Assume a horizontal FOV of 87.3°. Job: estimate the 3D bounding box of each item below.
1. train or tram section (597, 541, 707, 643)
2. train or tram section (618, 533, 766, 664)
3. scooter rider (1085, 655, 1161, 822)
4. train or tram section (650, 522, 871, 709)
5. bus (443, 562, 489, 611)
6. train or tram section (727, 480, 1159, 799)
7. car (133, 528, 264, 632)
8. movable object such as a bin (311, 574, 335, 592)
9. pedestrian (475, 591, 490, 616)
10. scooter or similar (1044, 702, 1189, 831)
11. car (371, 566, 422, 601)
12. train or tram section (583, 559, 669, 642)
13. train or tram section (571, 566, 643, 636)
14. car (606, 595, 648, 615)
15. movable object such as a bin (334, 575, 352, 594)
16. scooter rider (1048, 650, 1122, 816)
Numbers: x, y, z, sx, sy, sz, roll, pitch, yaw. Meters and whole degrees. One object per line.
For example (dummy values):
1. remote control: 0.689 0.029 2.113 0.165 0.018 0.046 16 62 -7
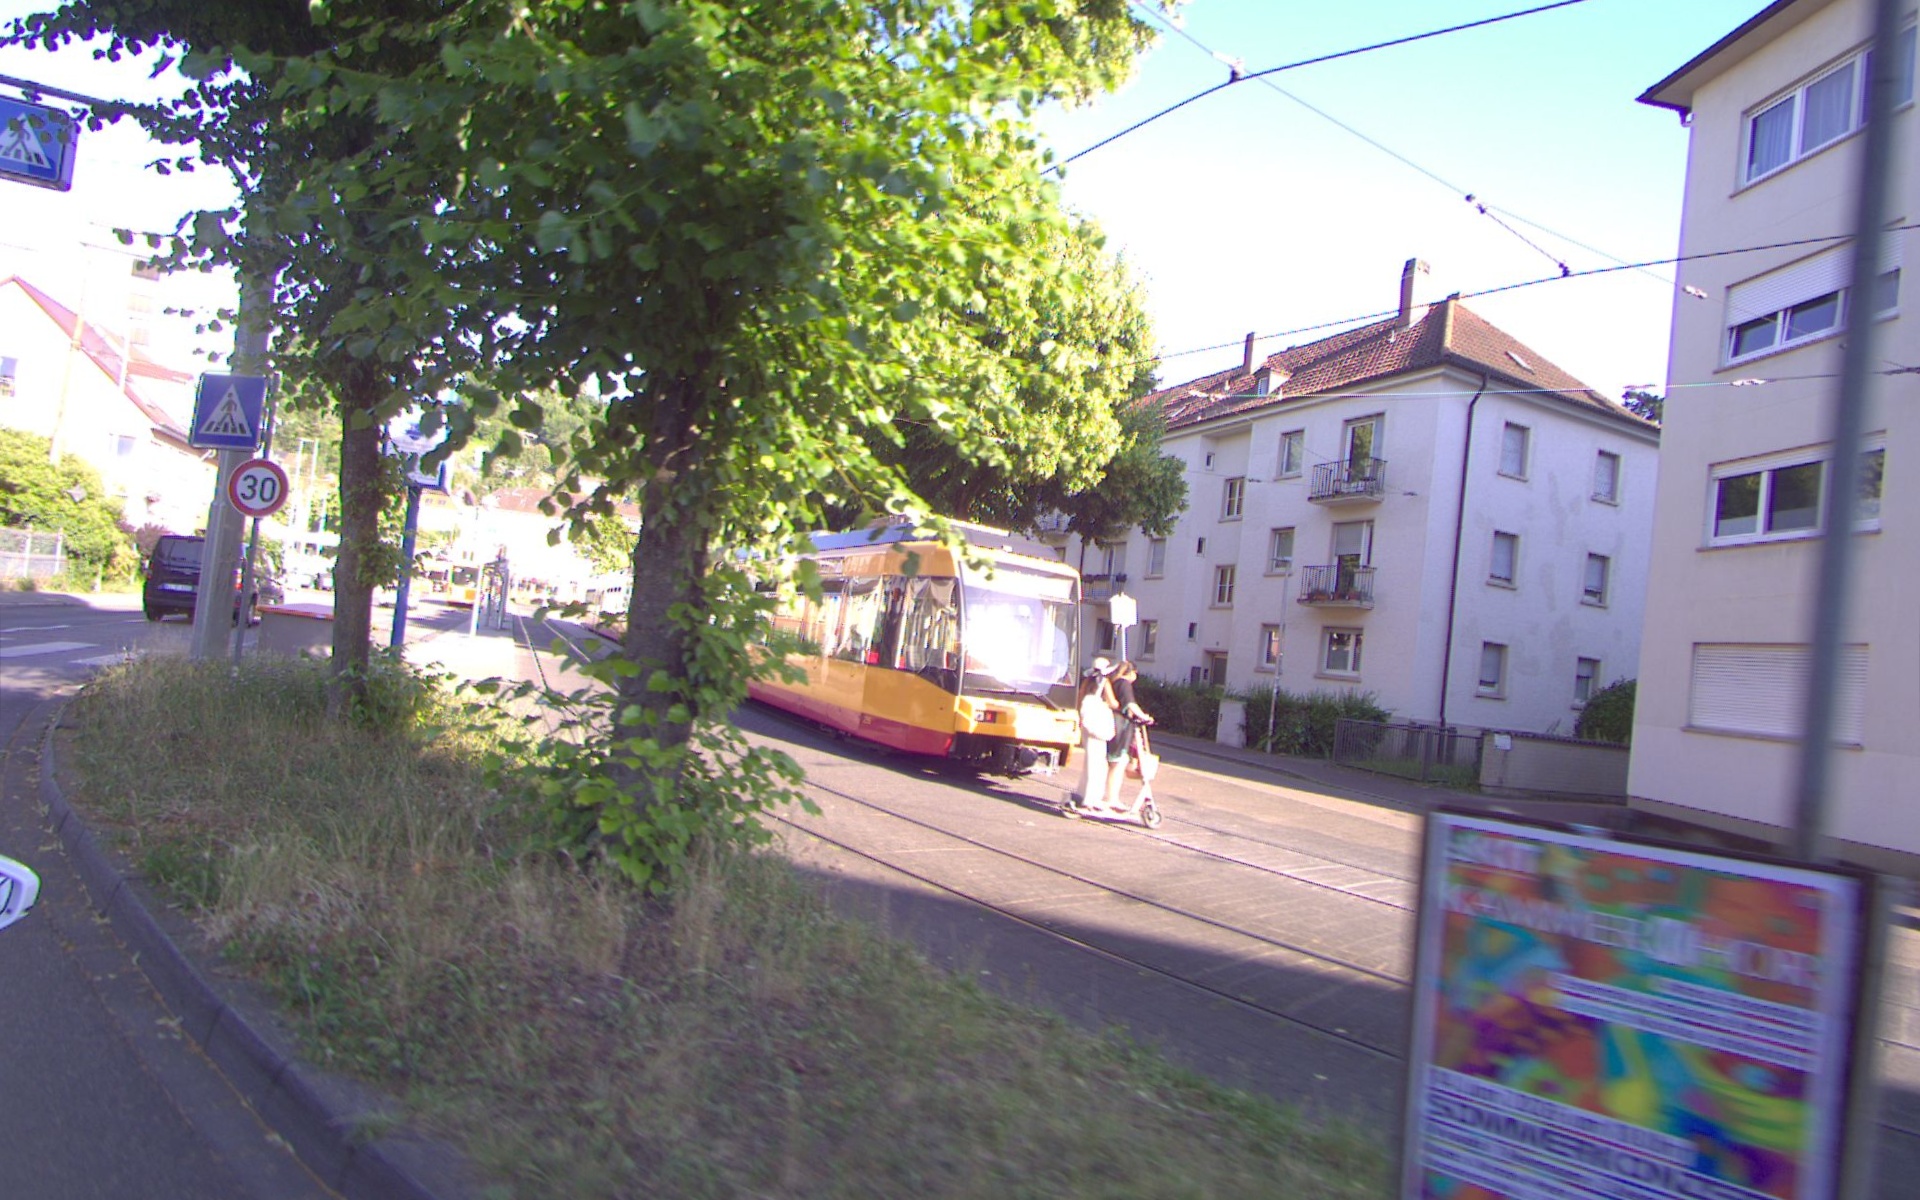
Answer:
1. train or tram section: -13.510 -0.360 43.430 2.751 3.596 9.862 7 -2 -26
2. train or tram section: -9.470 -0.075 34.453 2.751 3.596 9.862 7 -2 -26
3. scooter rider: 1.760 1.475 10.945 0.596 1.692 0.655 6 -1 7
4. train or tram section: -5.467 0.309 25.460 2.751 3.596 9.862 7 -2 -26
5. bus: -39.295 -0.989 80.203 2.679 3.327 10.159 7 -3 -24
6. train or tram section: -1.079 0.491 16.637 2.752 3.596 9.858 7 -2 -27
7. car: -18.187 -0.466 24.211 1.981 2.036 3.968 9 -3 -32
8. movable object such as a bin: -50.424 -1.352 79.653 1.418 1.241 0.951 8 -3 -36
9. pedestrian: -35.687 0.286 75.180 0.542 1.787 0.545 6 -2 14
10. scooter or similar: 1.683 1.793 10.984 1.380 1.150 0.686 7 -1 3
11. car: -33.083 -0.970 59.049 1.984 1.736 3.962 8 -4 -37
12. train or tram section: -17.592 -0.019 52.453 2.750 3.596 9.864 7 -2 -25
13. train or tram section: -21.690 0.005 61.418 2.750 3.596 9.864 7 -2 -25
14. car: -44.998 0.633 135.977 5.159 2.036 1.992 8 -3 -21
15. movable object such as a bin: -49.441 -1.241 80.565 1.030 1.318 0.951 8 -3 -36
16. scooter rider: 1.359 1.420 10.981 0.596 1.692 0.655 6 -1 7
